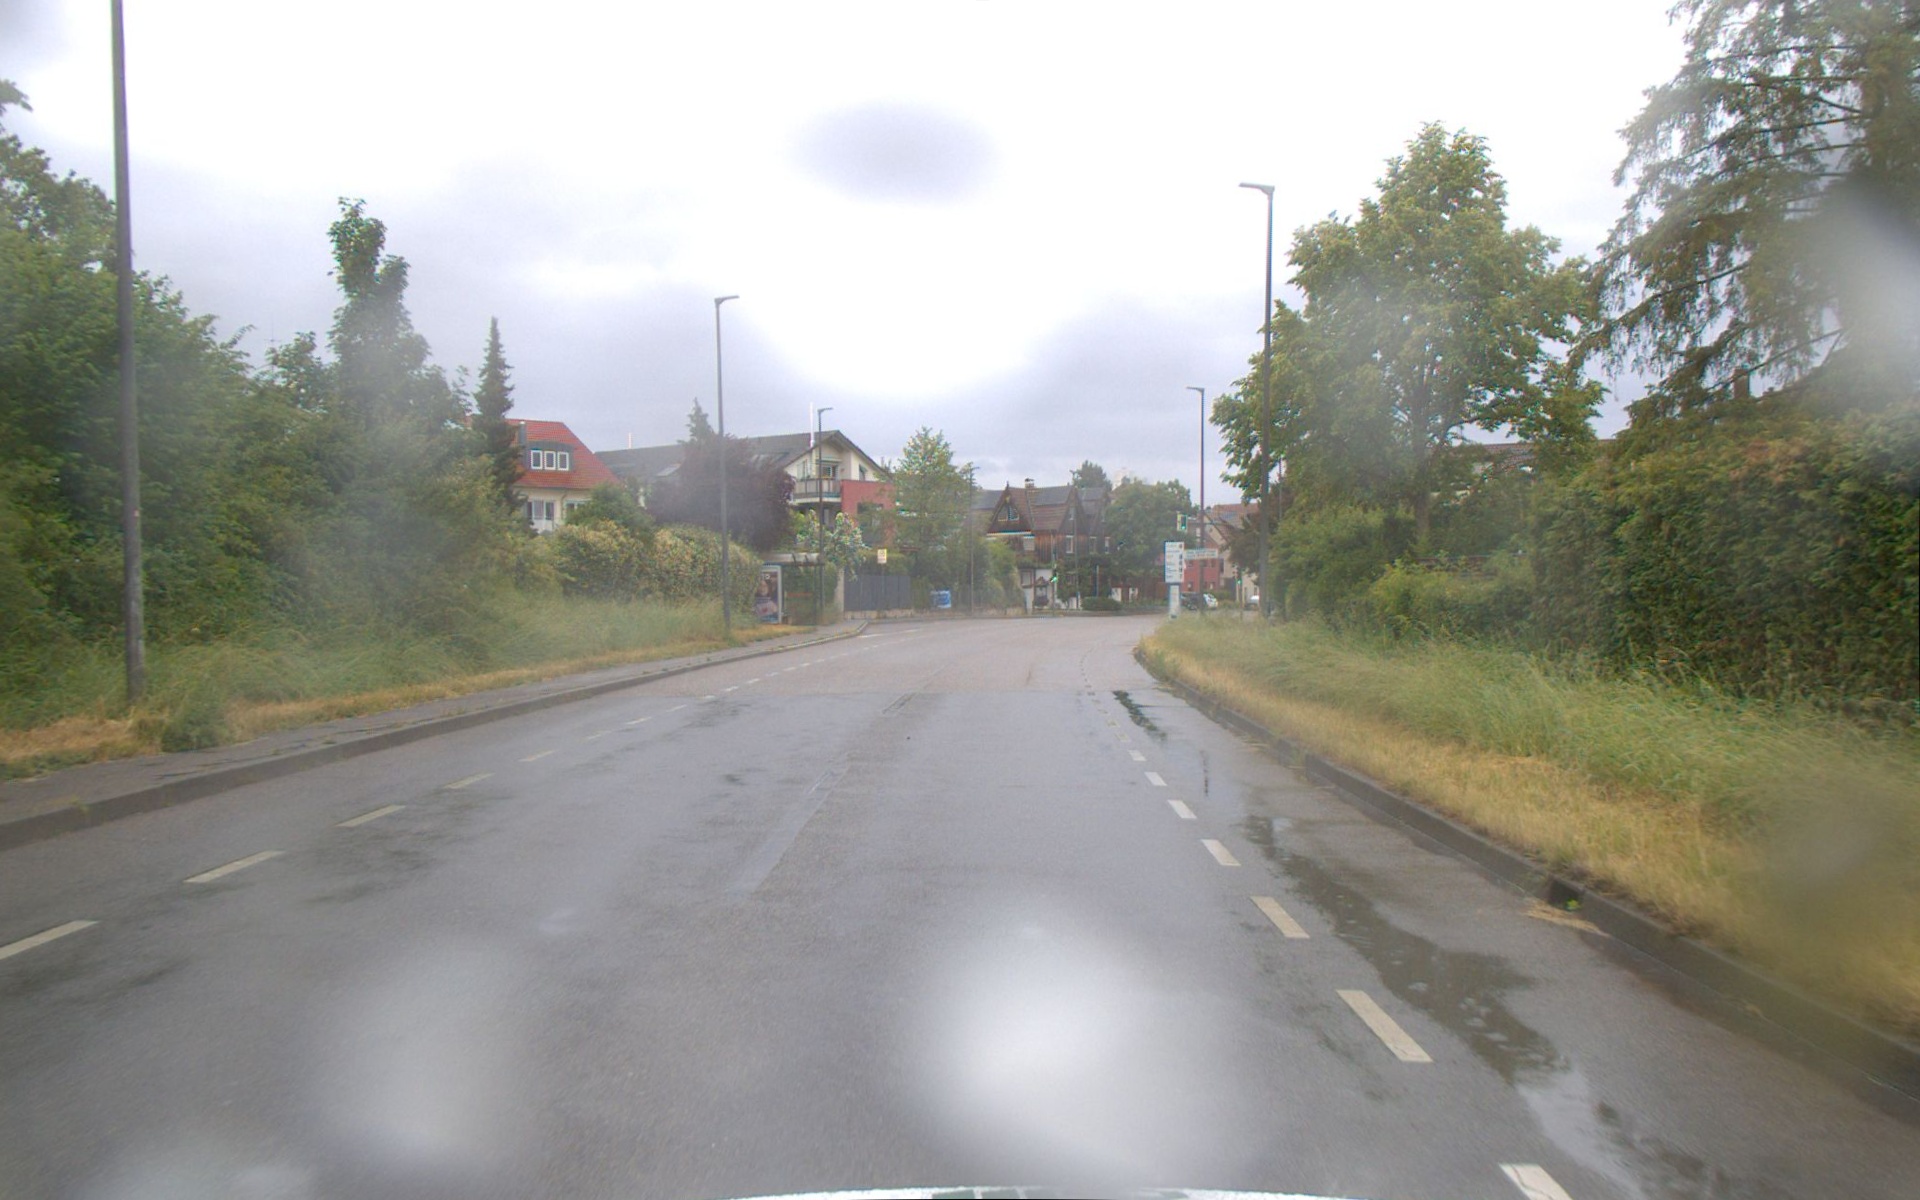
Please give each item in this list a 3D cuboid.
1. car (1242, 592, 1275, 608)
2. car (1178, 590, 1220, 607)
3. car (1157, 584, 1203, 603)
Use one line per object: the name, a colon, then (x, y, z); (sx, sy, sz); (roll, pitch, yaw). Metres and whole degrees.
car: (27.204, -0.007, 150.693); (1.597, 1.379, 4.102); (2, 1, 30)
car: (21.485, -0.115, 148.664); (3.401, 1.505, 1.586); (-1, 0, 34)
car: (19.039, -0.596, 143.350); (3.516, 1.532, 1.848); (3, 2, 36)
